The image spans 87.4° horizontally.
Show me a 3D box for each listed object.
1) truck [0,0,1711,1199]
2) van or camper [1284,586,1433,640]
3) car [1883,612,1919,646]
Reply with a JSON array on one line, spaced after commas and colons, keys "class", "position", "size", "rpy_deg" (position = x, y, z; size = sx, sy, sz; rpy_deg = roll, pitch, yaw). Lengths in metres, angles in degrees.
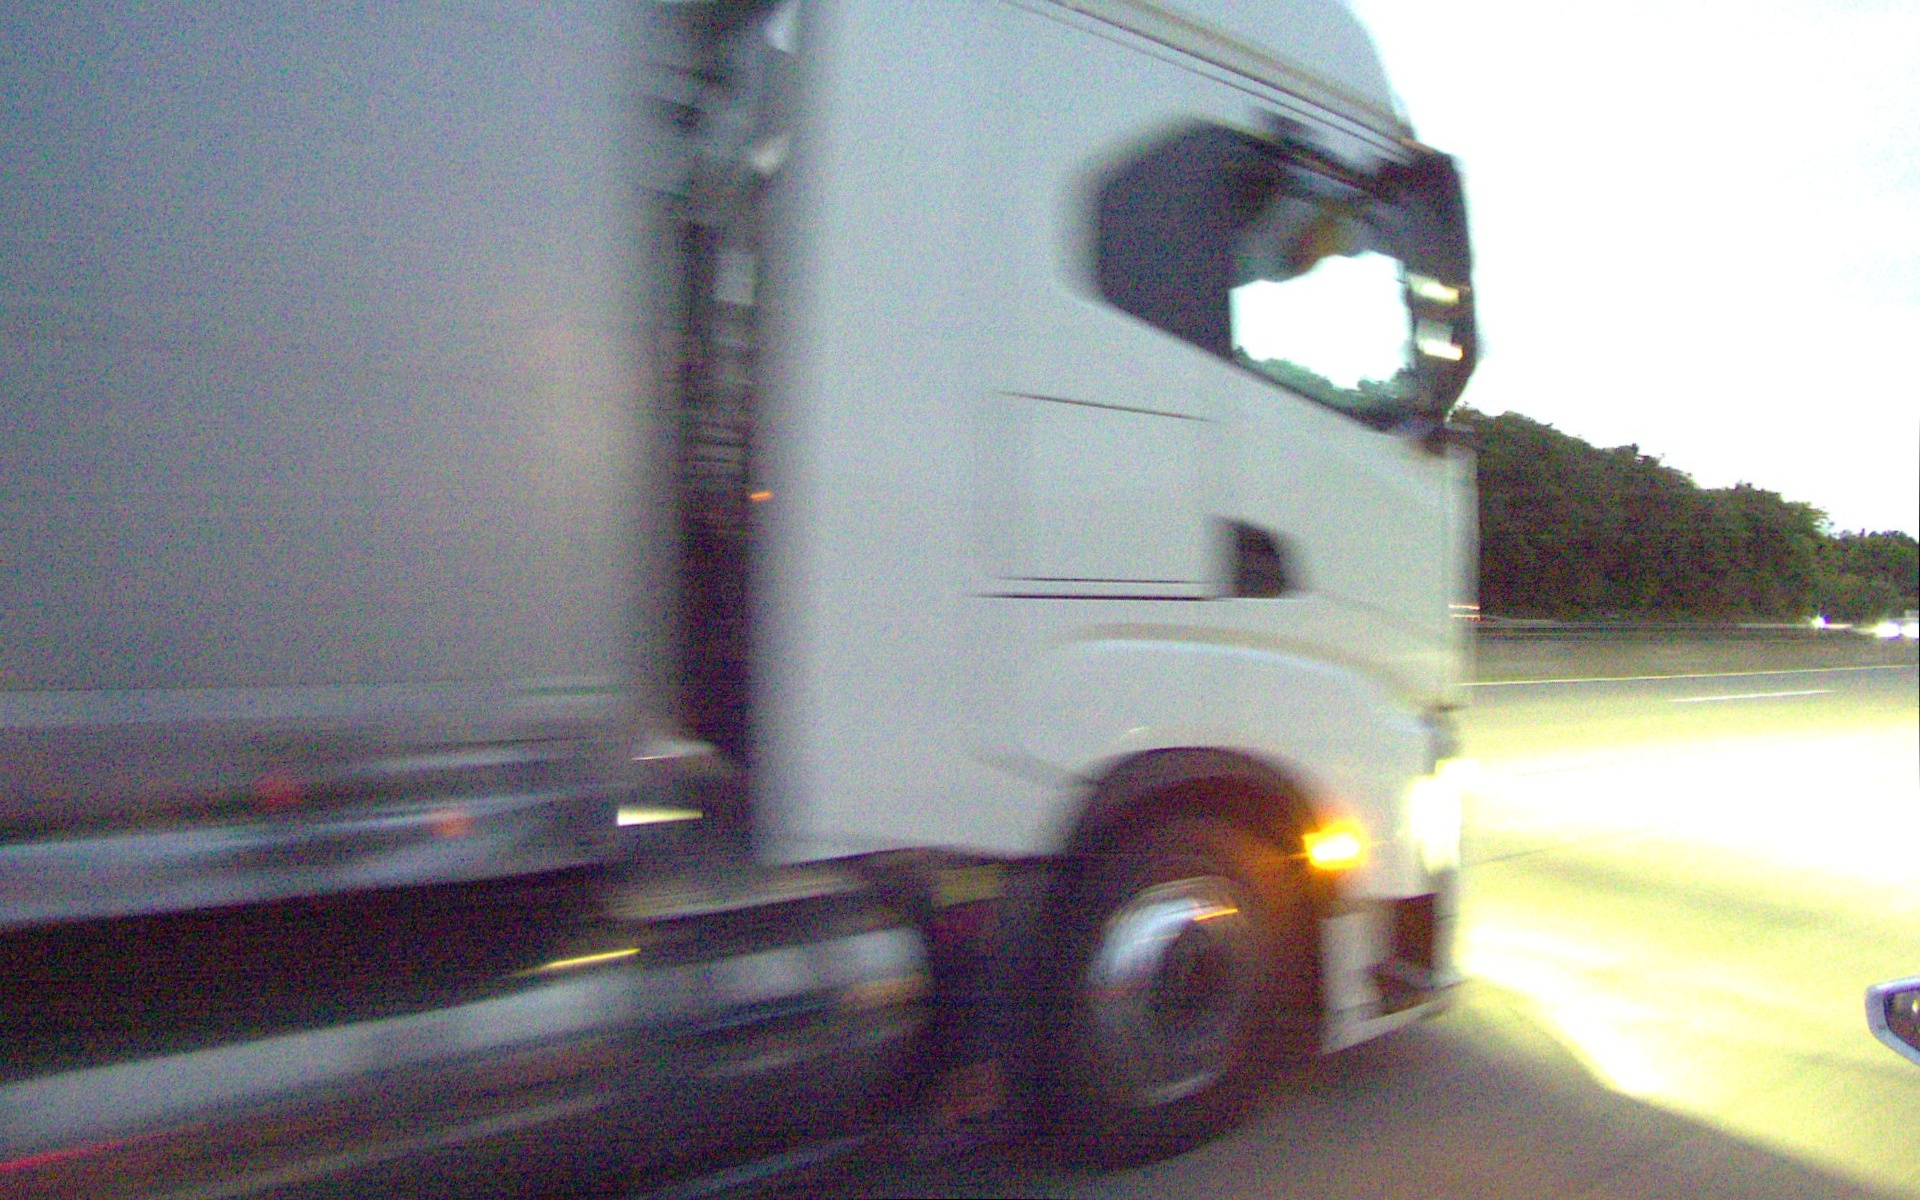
[{"class": "truck", "position": [-0.594, -0.447, 3.319], "size": [6.082, 3.954, 2.766], "rpy_deg": [1, 0, -30]}, {"class": "van or camper", "position": [16.444, 0.554, 41.329], "size": [6.422, 2.040, 2.364], "rpy_deg": [2, 0, -32]}, {"class": "car", "position": [60.587, 1.861, 63.524], "size": [4.442, 2.040, 1.984], "rpy_deg": [2, 0, -30]}]
